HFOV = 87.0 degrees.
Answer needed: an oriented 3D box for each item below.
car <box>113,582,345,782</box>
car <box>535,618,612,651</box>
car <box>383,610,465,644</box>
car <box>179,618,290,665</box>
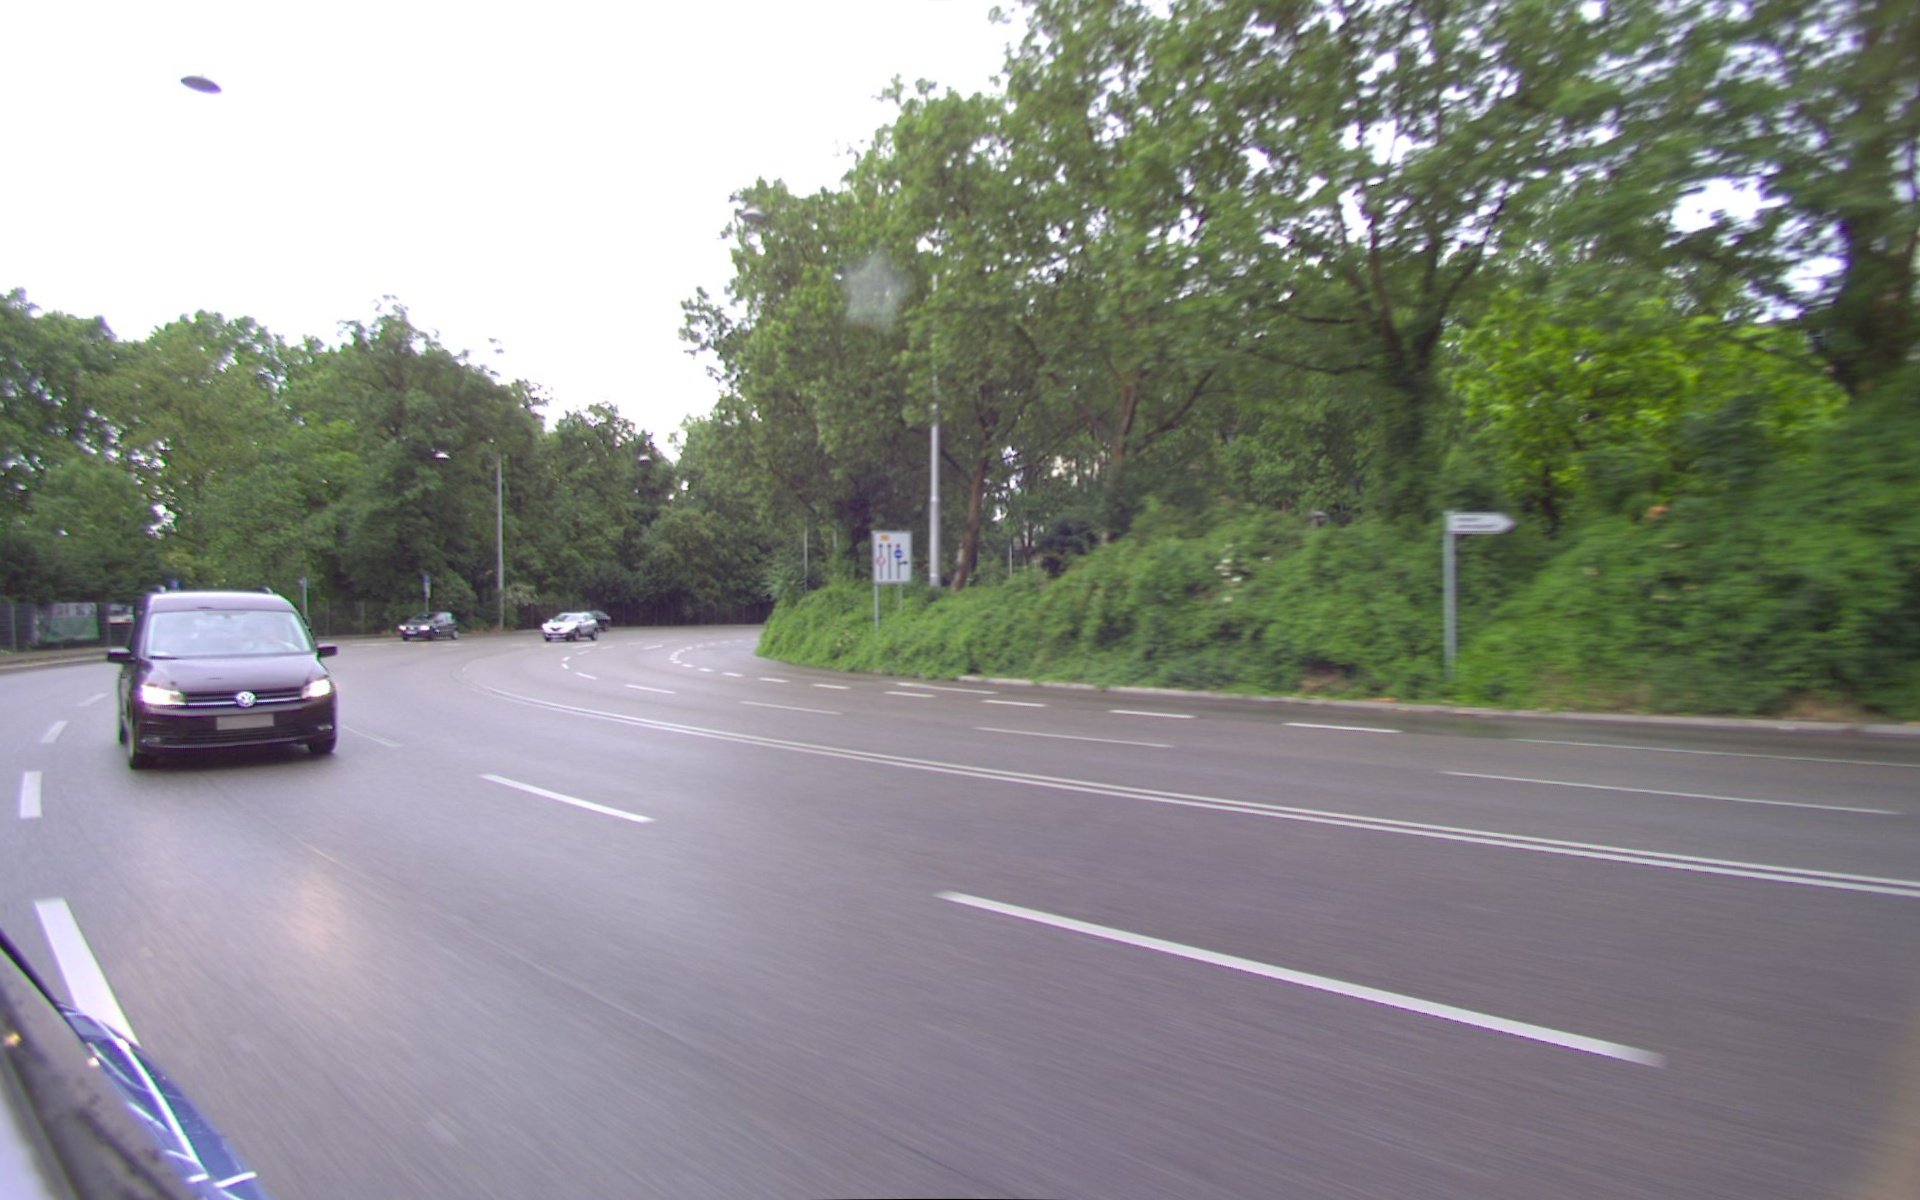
[{"bbox_3d":[-8.281,0.761,11.313,1.768,1.813,4.131,0,-1,-41],"label":"car"},{"bbox_3d":[-21.819,1.903,57.319,1.979,1.758,4.638,0,0,11],"label":"car"},{"bbox_3d":[-29.051,1.458,54.973,1.977,1.758,3.990,0,0,8],"label":"car"},{"bbox_3d":[-25.056,1.388,35.110,1.766,1.464,4.011,0,0,-14],"label":"car"}]
